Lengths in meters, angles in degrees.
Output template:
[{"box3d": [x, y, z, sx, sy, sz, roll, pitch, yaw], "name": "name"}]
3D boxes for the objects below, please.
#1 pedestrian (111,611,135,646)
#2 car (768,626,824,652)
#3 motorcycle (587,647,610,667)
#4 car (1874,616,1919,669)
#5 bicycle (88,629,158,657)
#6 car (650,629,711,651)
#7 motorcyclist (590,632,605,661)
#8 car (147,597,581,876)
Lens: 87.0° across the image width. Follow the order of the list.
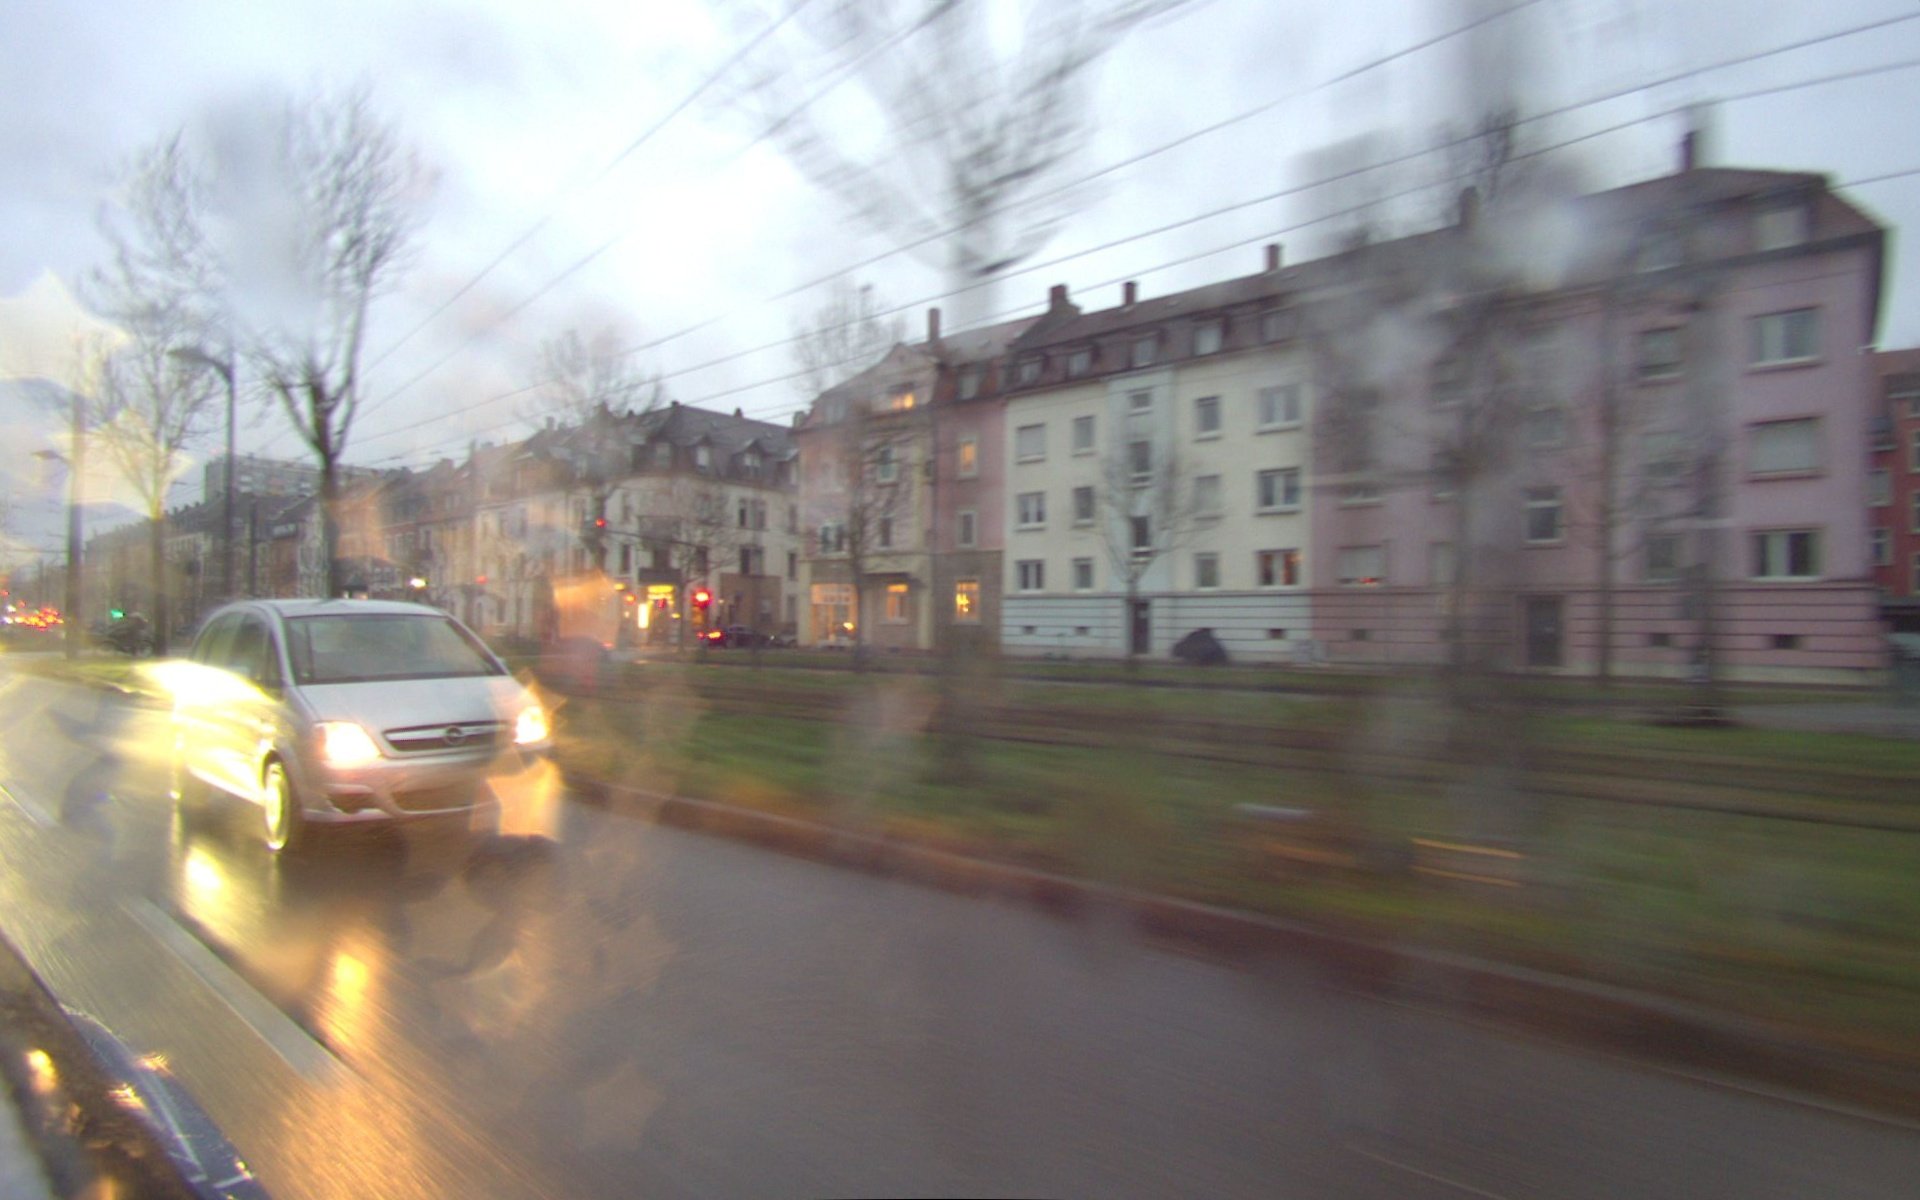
[{"box3d": [-28.330, 0.968, 34.253, 0.582, 1.165, 0.555, -1, 0, 43], "name": "pedestrian"}, {"box3d": [-11.525, 2.735, 71.384, 3.542, 1.708, 1.732, -1, 0, -44], "name": "car"}, {"box3d": [-13.521, 2.116, 37.845, 0.416, 0.688, 1.177, 0, 0, -42], "name": "motorcycle"}, {"box3d": [30.598, 1.340, 32.662, 1.611, 1.555, 3.317, -1, 0, 42], "name": "car"}, {"box3d": [-28.339, 1.464, 34.282, 0.733, 0.905, 1.703, 0, -3, 41], "name": "bicycle"}, {"box3d": [-16.288, 2.322, 59.115, 1.253, 1.146, 3.285, -1, 0, 40], "name": "car"}, {"box3d": [-13.542, 1.744, 37.838, 0.410, 1.069, 0.346, 0, 0, -42], "name": "motorcyclist"}, {"box3d": [-4.554, 0.768, 7.485, 3.905, 1.531, 1.617, -1, 0, 41], "name": "car"}]
